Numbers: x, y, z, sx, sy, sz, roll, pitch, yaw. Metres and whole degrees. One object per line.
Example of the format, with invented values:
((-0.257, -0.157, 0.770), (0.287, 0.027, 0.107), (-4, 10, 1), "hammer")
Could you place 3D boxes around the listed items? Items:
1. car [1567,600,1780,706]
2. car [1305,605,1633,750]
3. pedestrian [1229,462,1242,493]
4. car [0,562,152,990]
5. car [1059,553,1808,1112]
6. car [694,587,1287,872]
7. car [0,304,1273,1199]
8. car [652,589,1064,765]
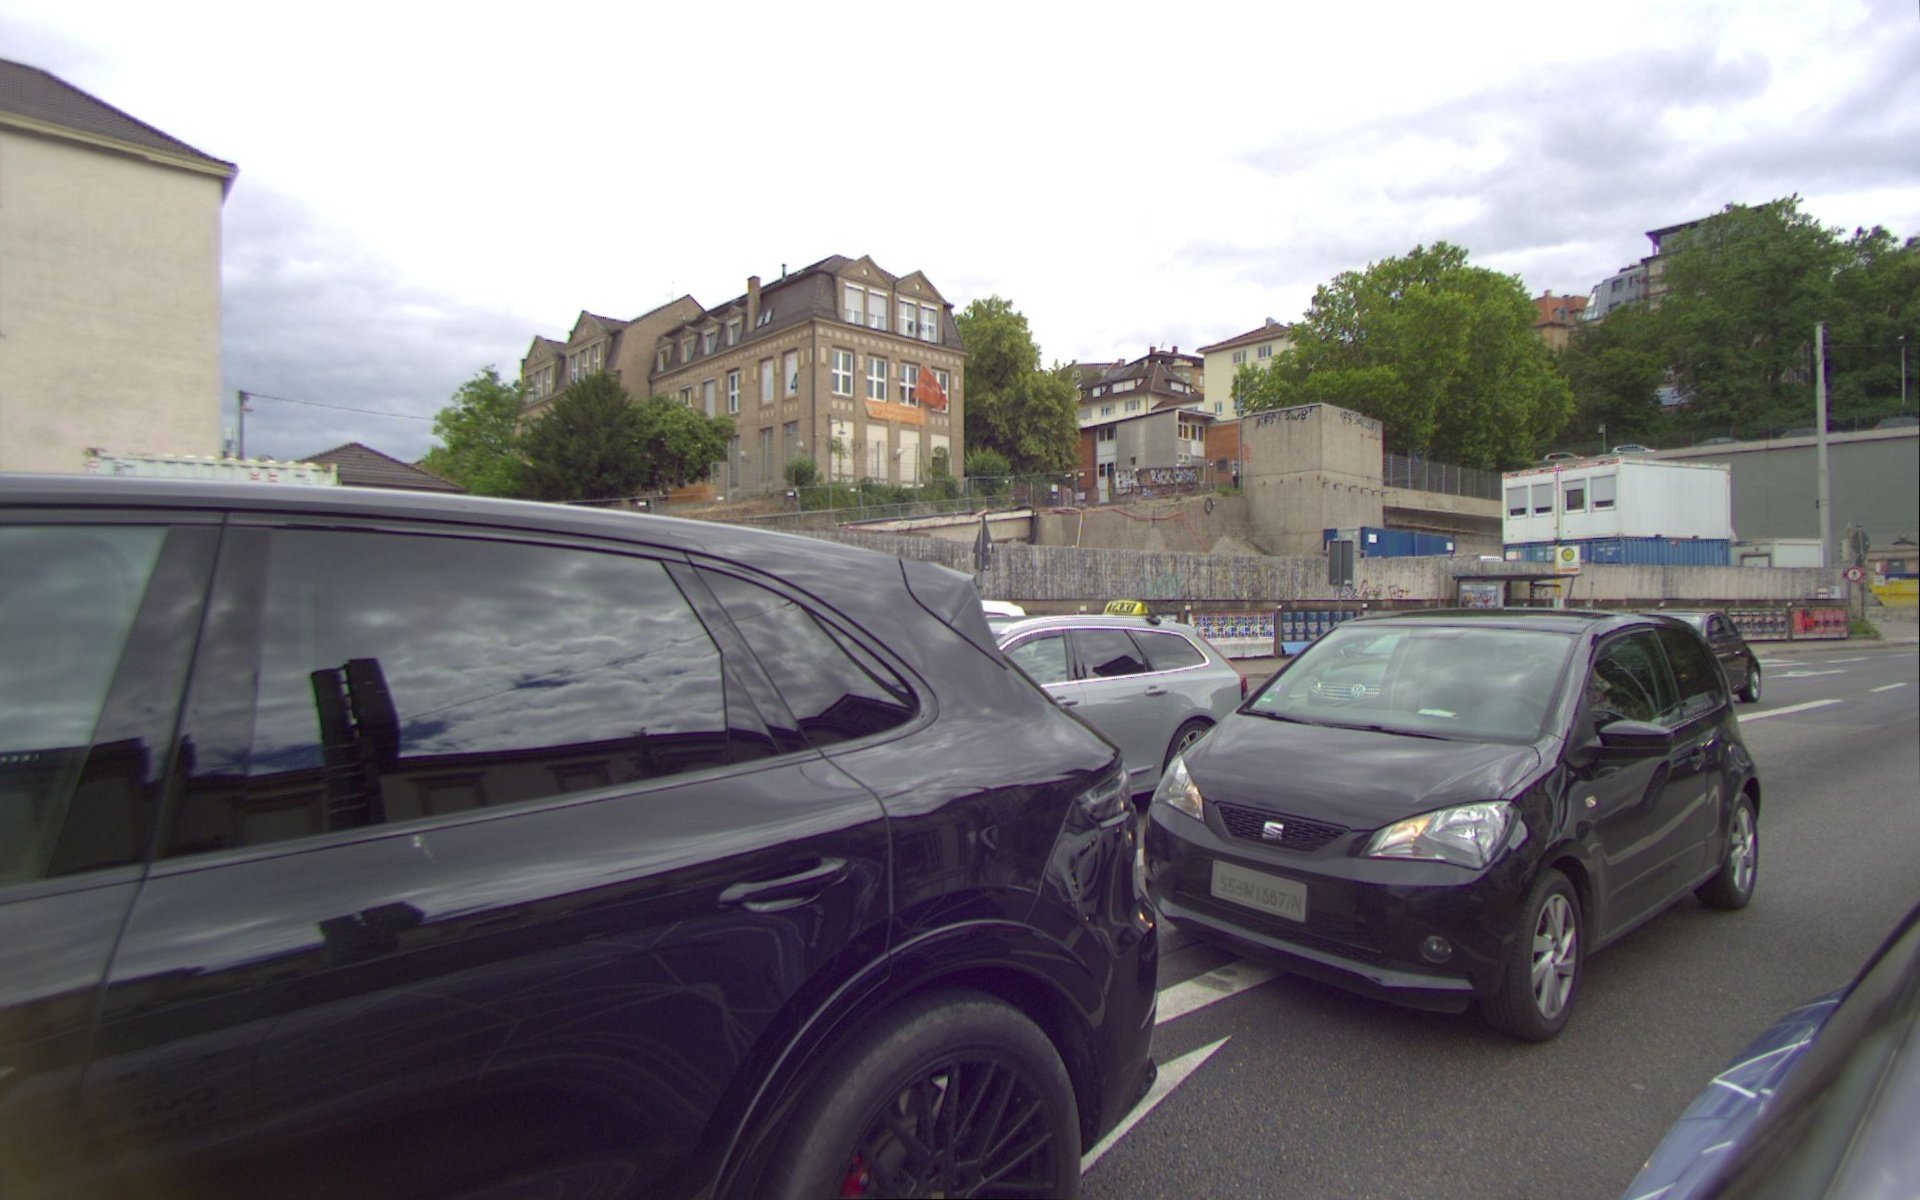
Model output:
((11.323, 0.769, 15.990), (3.711, 1.478, 1.721), (1, -2, -38), "car")
((6.027, 0.770, 11.804), (4.139, 1.381, 1.827), (1, 0, -38), "car")
((17.298, -7.666, 63.452), (0.559, 1.817, 0.554), (0, 0, -40), "pedestrian")
((-5.059, 0.637, 3.456), (3.581, 1.529, 1.826), (-1, 0, -39), "car")
((2.415, 0.632, 4.717), (3.841, 1.575, 1.661), (-1, 0, -39), "car")
((0.403, 0.658, 7.338), (4.142, 1.484, 1.825), (-1, 0, -40), "car")
((-1.654, 0.556, 1.665), (4.497, 1.689, 1.998), (-1, 0, -39), "car")
((-0.936, 0.634, 10.602), (4.004, 1.484, 1.824), (-1, 0, -42), "car")
